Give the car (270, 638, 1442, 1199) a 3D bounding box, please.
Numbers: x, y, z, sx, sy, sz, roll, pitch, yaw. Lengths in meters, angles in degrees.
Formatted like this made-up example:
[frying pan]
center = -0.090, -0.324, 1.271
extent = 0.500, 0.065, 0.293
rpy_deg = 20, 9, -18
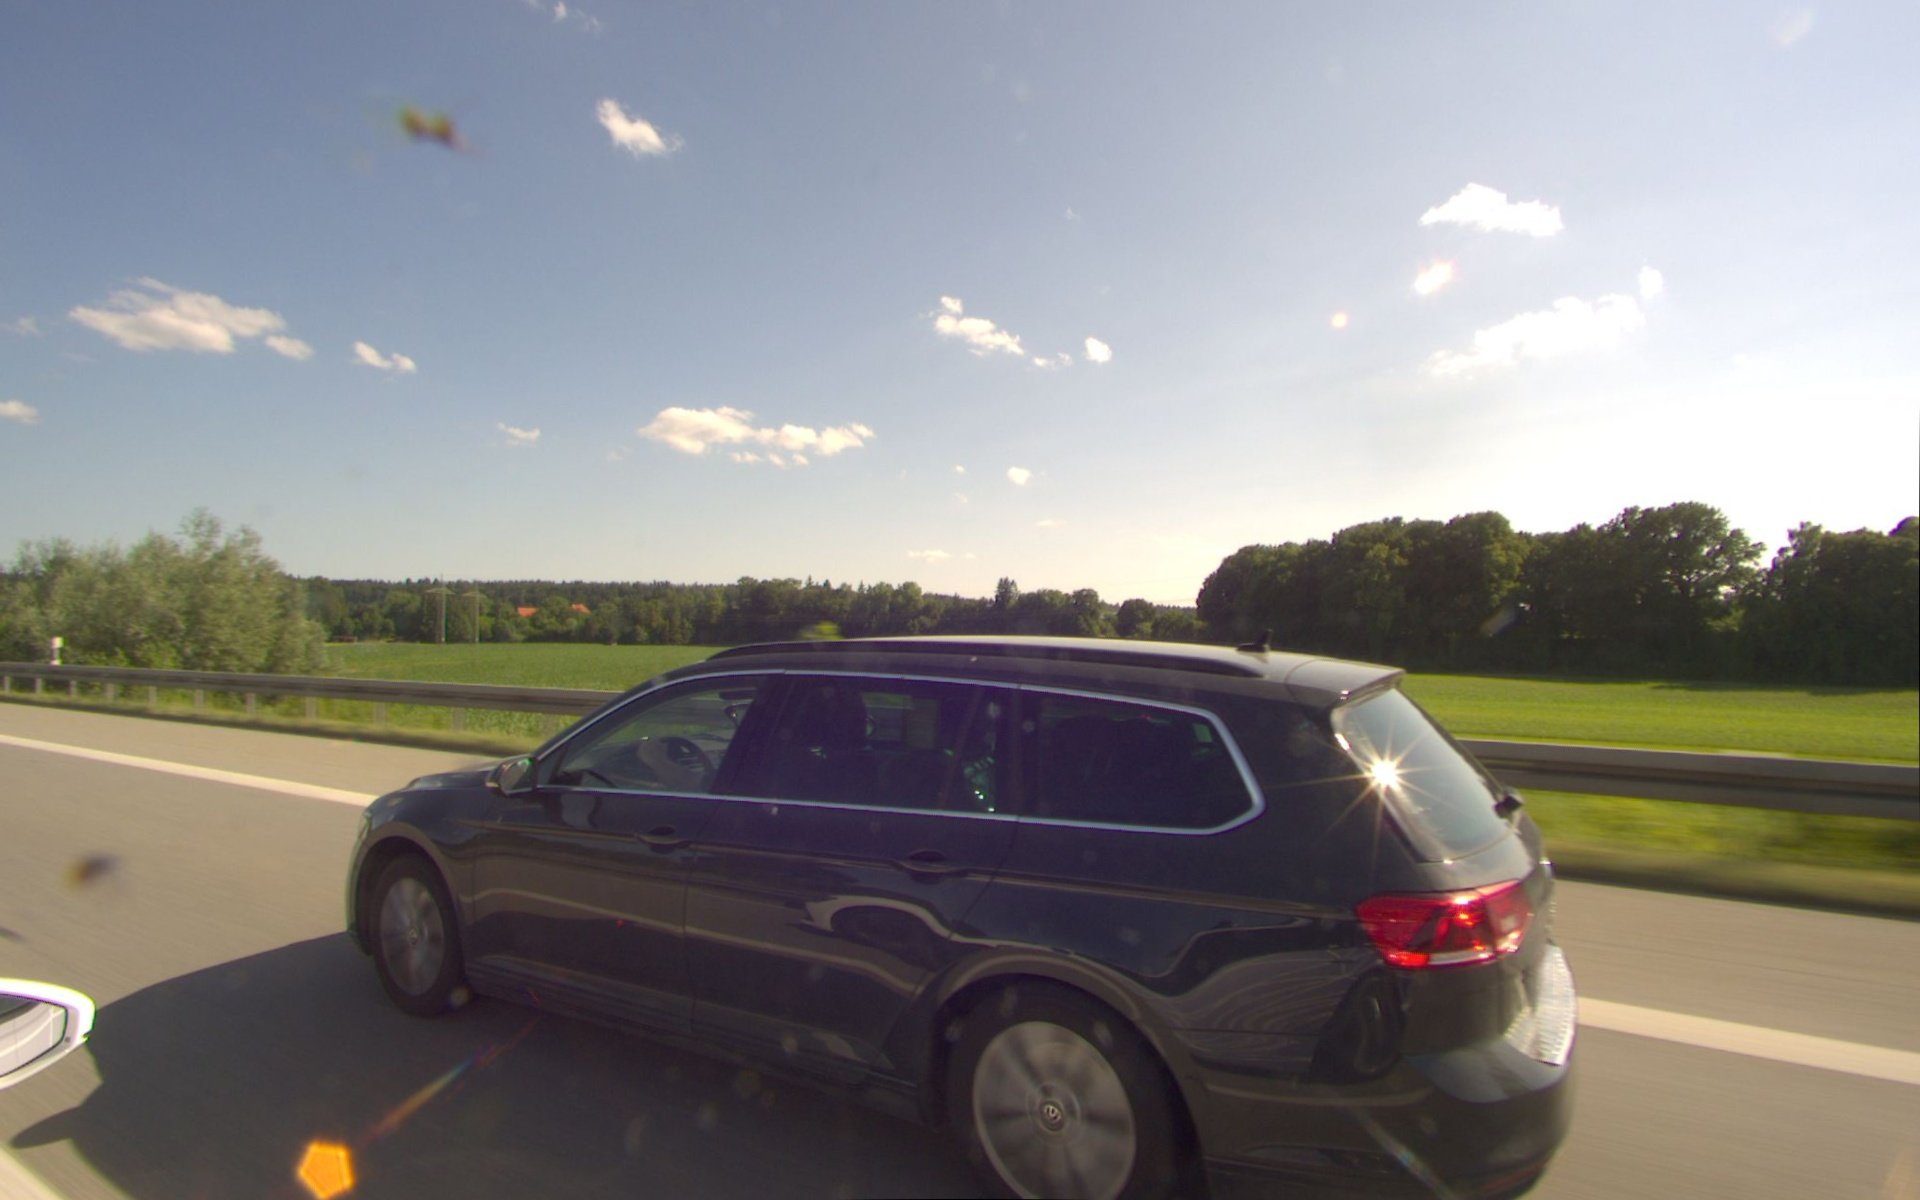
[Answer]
[car]
center = -0.643, 0.868, 3.842
extent = 4.350, 1.418, 1.716
rpy_deg = -1, -1, 32
